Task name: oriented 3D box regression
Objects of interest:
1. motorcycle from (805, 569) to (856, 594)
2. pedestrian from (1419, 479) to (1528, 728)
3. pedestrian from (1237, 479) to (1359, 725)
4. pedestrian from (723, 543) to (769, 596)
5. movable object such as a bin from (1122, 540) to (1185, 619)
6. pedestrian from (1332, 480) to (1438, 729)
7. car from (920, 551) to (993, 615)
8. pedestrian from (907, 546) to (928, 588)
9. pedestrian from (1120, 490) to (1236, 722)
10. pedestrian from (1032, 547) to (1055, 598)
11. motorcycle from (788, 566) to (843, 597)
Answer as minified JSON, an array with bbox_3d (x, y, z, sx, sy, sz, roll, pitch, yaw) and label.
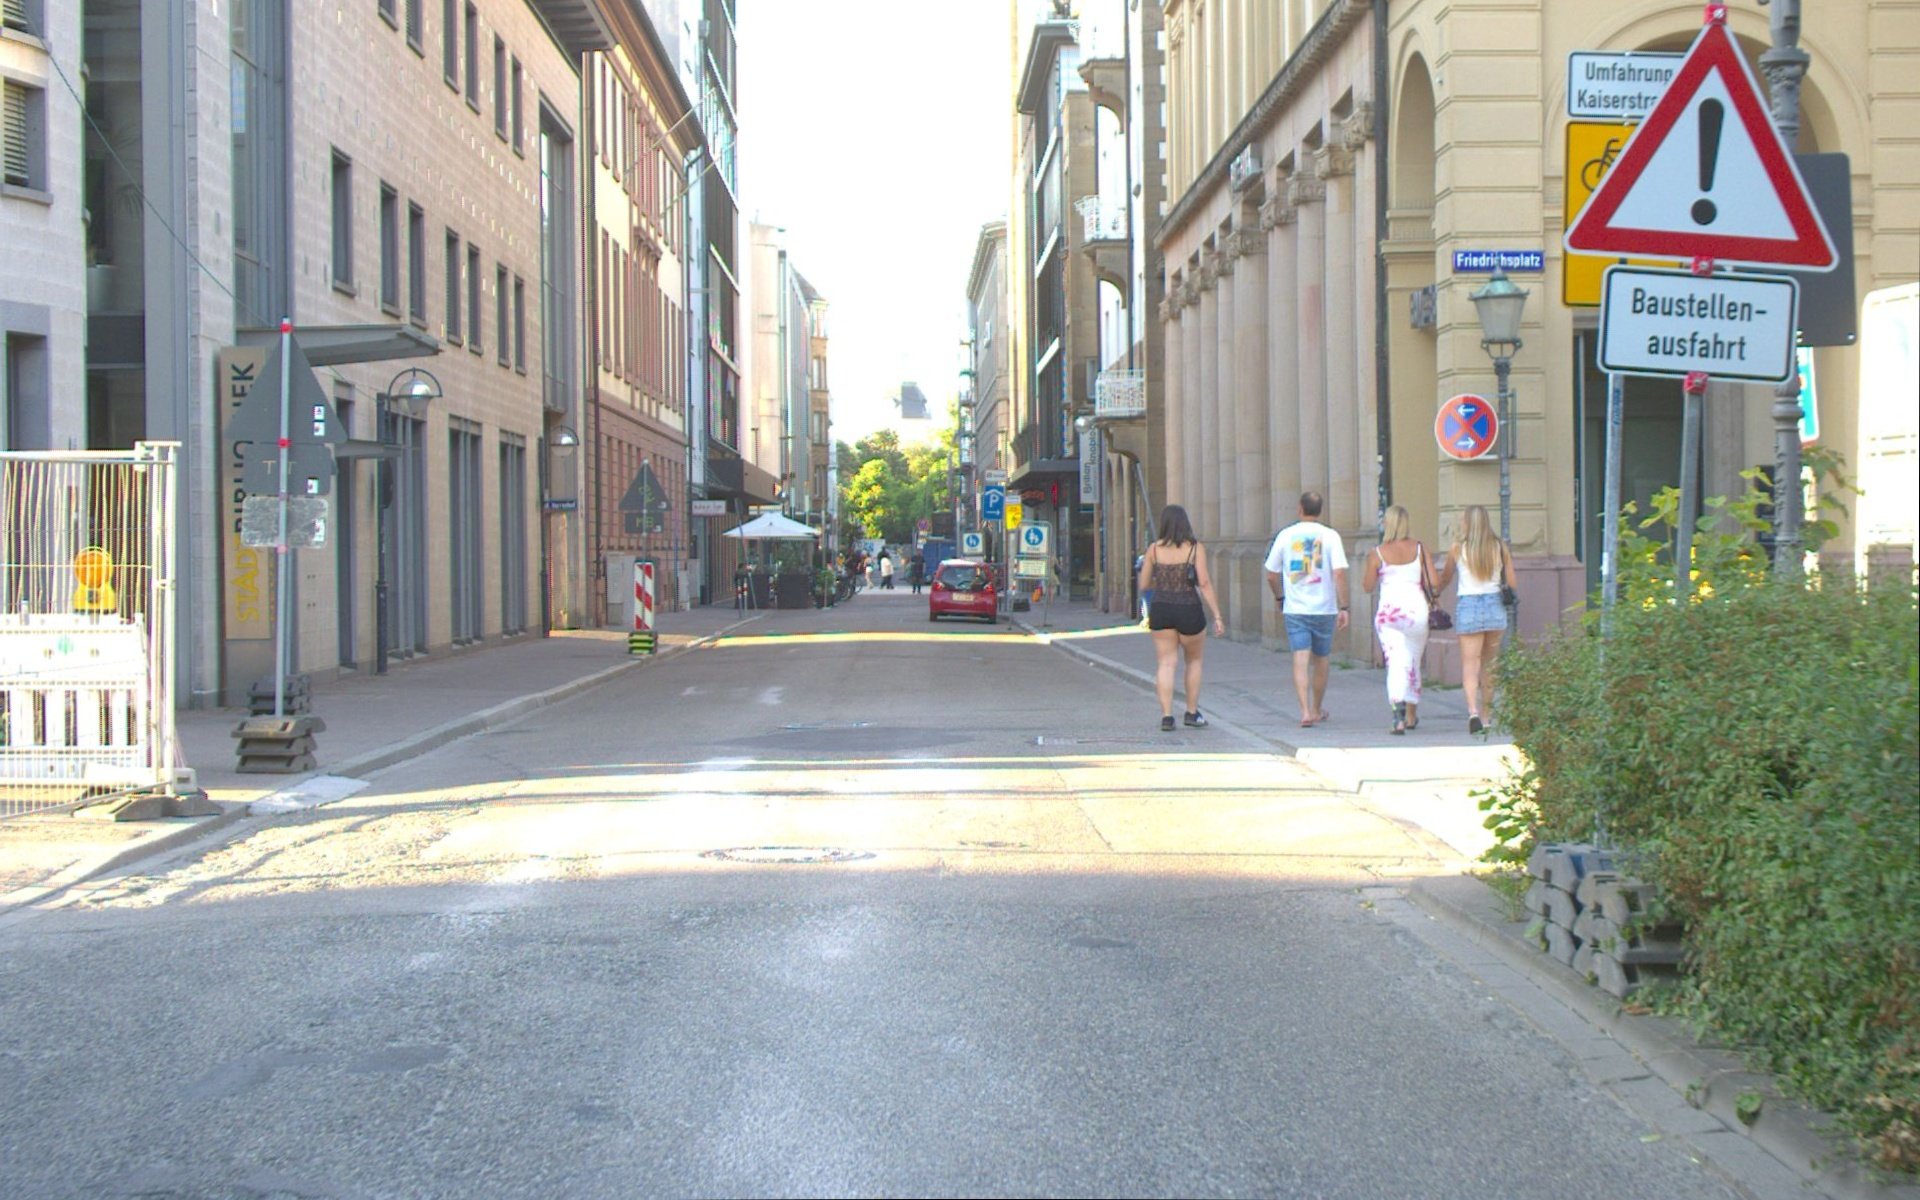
[{"bbox_3d":[-4.614,-0.651,122.307,1.801,0.872,0.560,0,1,-5],"label":"motorcycle"},{"bbox_3d":[3.778,0.023,25.326,0.636,1.797,0.772,-1,1,-2],"label":"pedestrian"},{"bbox_3d":[2.619,0.012,26.731,0.812,1.869,0.875,-1,1,-2],"label":"pedestrian"},{"bbox_3d":[-6.092,-0.874,97.985,1.290,1.482,0.661,0,1,-3],"label":"pedestrian"},{"bbox_3d":[3.457,-0.368,61.601,0.990,1.387,1.241,-1,1,-2],"label":"movable object such as a bin"},{"bbox_3d":[3.121,0.027,25.290,0.636,1.797,0.772,-1,1,-2],"label":"pedestrian"},{"bbox_3d":[-0.089,-0.423,82.451,1.649,1.422,3.535,2,1,0],"label":"car"},{"bbox_3d":[-1.729,-1.336,139.644,0.865,1.707,0.852,0,1,-1],"label":"pedestrian"},{"bbox_3d":[1.662,0.039,26.336,0.775,1.740,0.875,-1,1,-2],"label":"pedestrian"},{"bbox_3d":[2.424,-0.797,99.887,0.656,1.482,0.493,-1,1,1],"label":"pedestrian"},{"bbox_3d":[-4.809,-0.622,114.162,1.801,1.037,0.494,0,1,-5],"label":"motorcycle"}]
